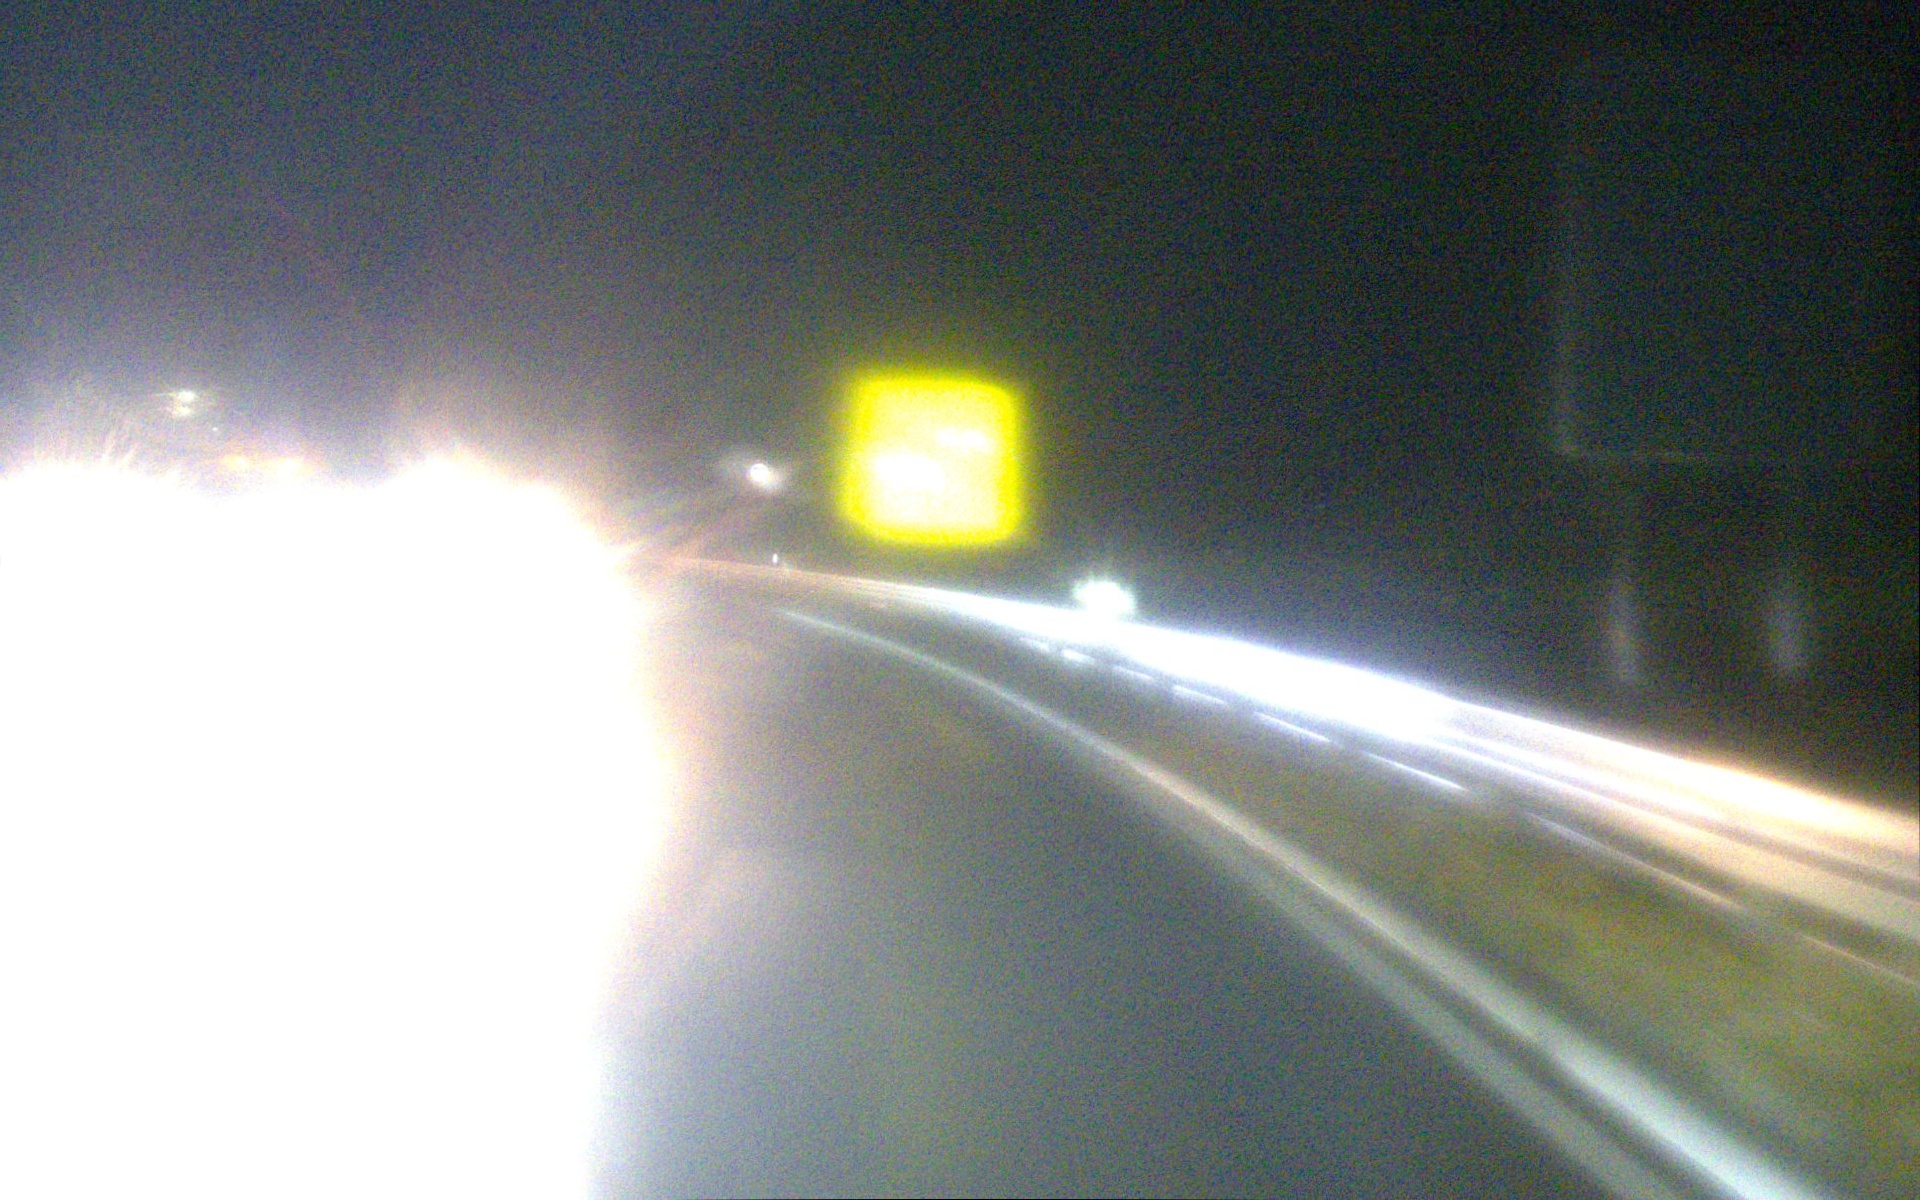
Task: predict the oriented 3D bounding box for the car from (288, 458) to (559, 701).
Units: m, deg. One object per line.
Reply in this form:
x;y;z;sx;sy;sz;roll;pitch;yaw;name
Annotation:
-4.824;-0.200;31.425;1.993;2.067;4.000;0;1;-2;car

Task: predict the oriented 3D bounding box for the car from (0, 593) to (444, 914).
-4.028;0.753;19.223;1.798;1.515;4.536;-1;1;-3;car
